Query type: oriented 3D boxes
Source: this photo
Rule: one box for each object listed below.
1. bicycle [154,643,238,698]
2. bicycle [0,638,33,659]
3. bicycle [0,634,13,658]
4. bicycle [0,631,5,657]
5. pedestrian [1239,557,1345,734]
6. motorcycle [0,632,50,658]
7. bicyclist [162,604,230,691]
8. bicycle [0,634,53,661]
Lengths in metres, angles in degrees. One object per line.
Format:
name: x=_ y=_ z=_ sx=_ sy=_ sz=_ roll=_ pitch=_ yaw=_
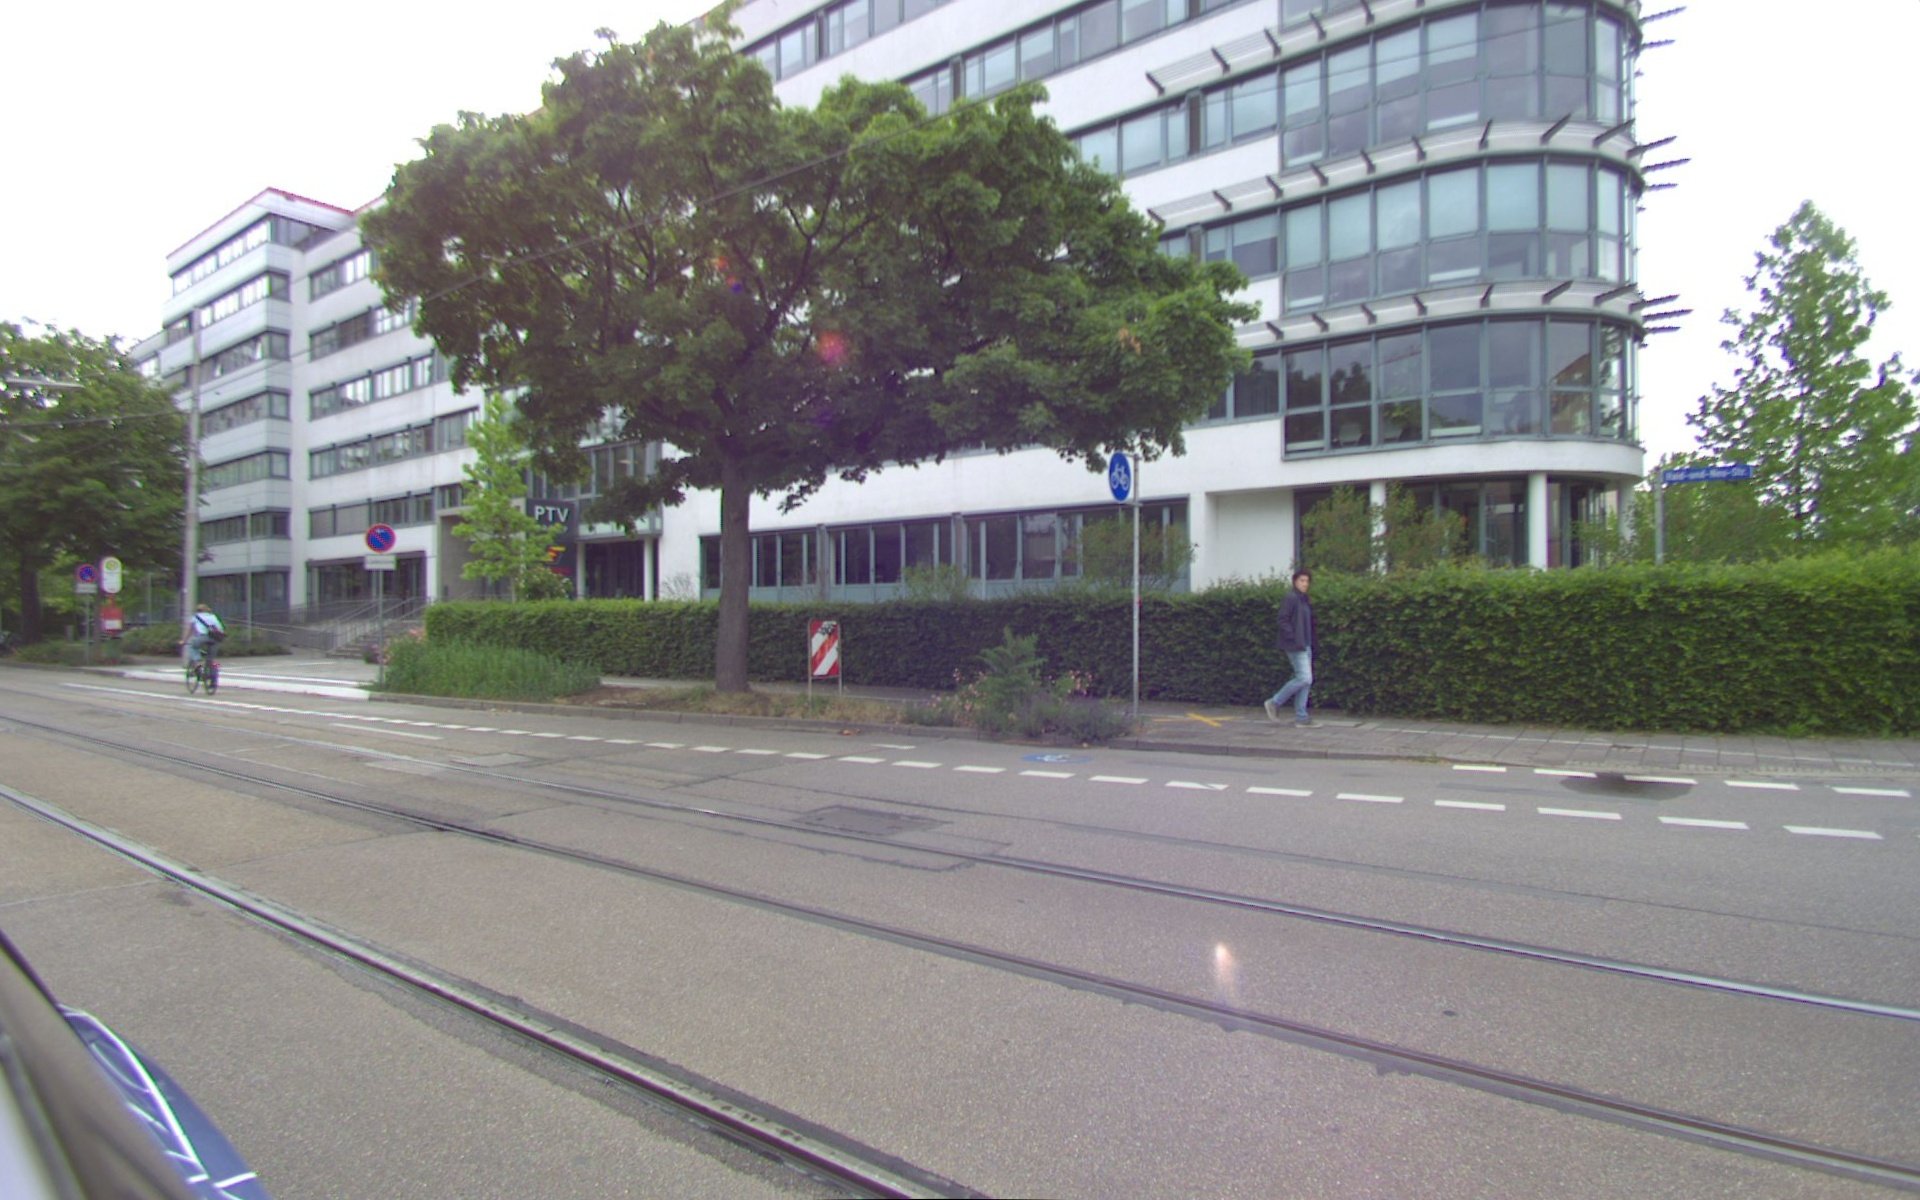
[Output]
bicycle: x=-15.771 y=1.438 z=20.876 sx=1.947 sy=1.082 sz=0.583 roll=-1 pitch=-2 yaw=27
bicycle: x=-41.929 y=2.113 z=44.369 sx=0.630 sy=0.906 sz=1.793 roll=0 pitch=-2 yaw=30
bicycle: x=-43.984 y=2.070 z=45.608 sx=0.630 sy=1.108 sz=1.793 roll=0 pitch=-2 yaw=30
bicycle: x=-44.955 y=2.029 z=46.245 sx=0.632 sy=1.195 sz=1.845 roll=-1 pitch=-3 yaw=41
pedestrian: x=4.000 y=0.517 z=12.204 sx=0.991 sy=2.029 sz=0.702 roll=-1 pitch=0 yaw=44
motorcycle: x=-40.572 y=1.931 z=43.702 sx=0.730 sy=1.058 sz=1.776 roll=-1 pitch=0 yaw=29
bicyclist: x=-15.765 y=0.971 z=20.890 sx=0.974 sy=1.762 sz=0.731 roll=-1 pitch=-2 yaw=27
bicycle: x=-38.923 y=1.961 z=41.984 sx=0.738 sy=1.061 sz=1.817 roll=-2 pitch=-1 yaw=28
